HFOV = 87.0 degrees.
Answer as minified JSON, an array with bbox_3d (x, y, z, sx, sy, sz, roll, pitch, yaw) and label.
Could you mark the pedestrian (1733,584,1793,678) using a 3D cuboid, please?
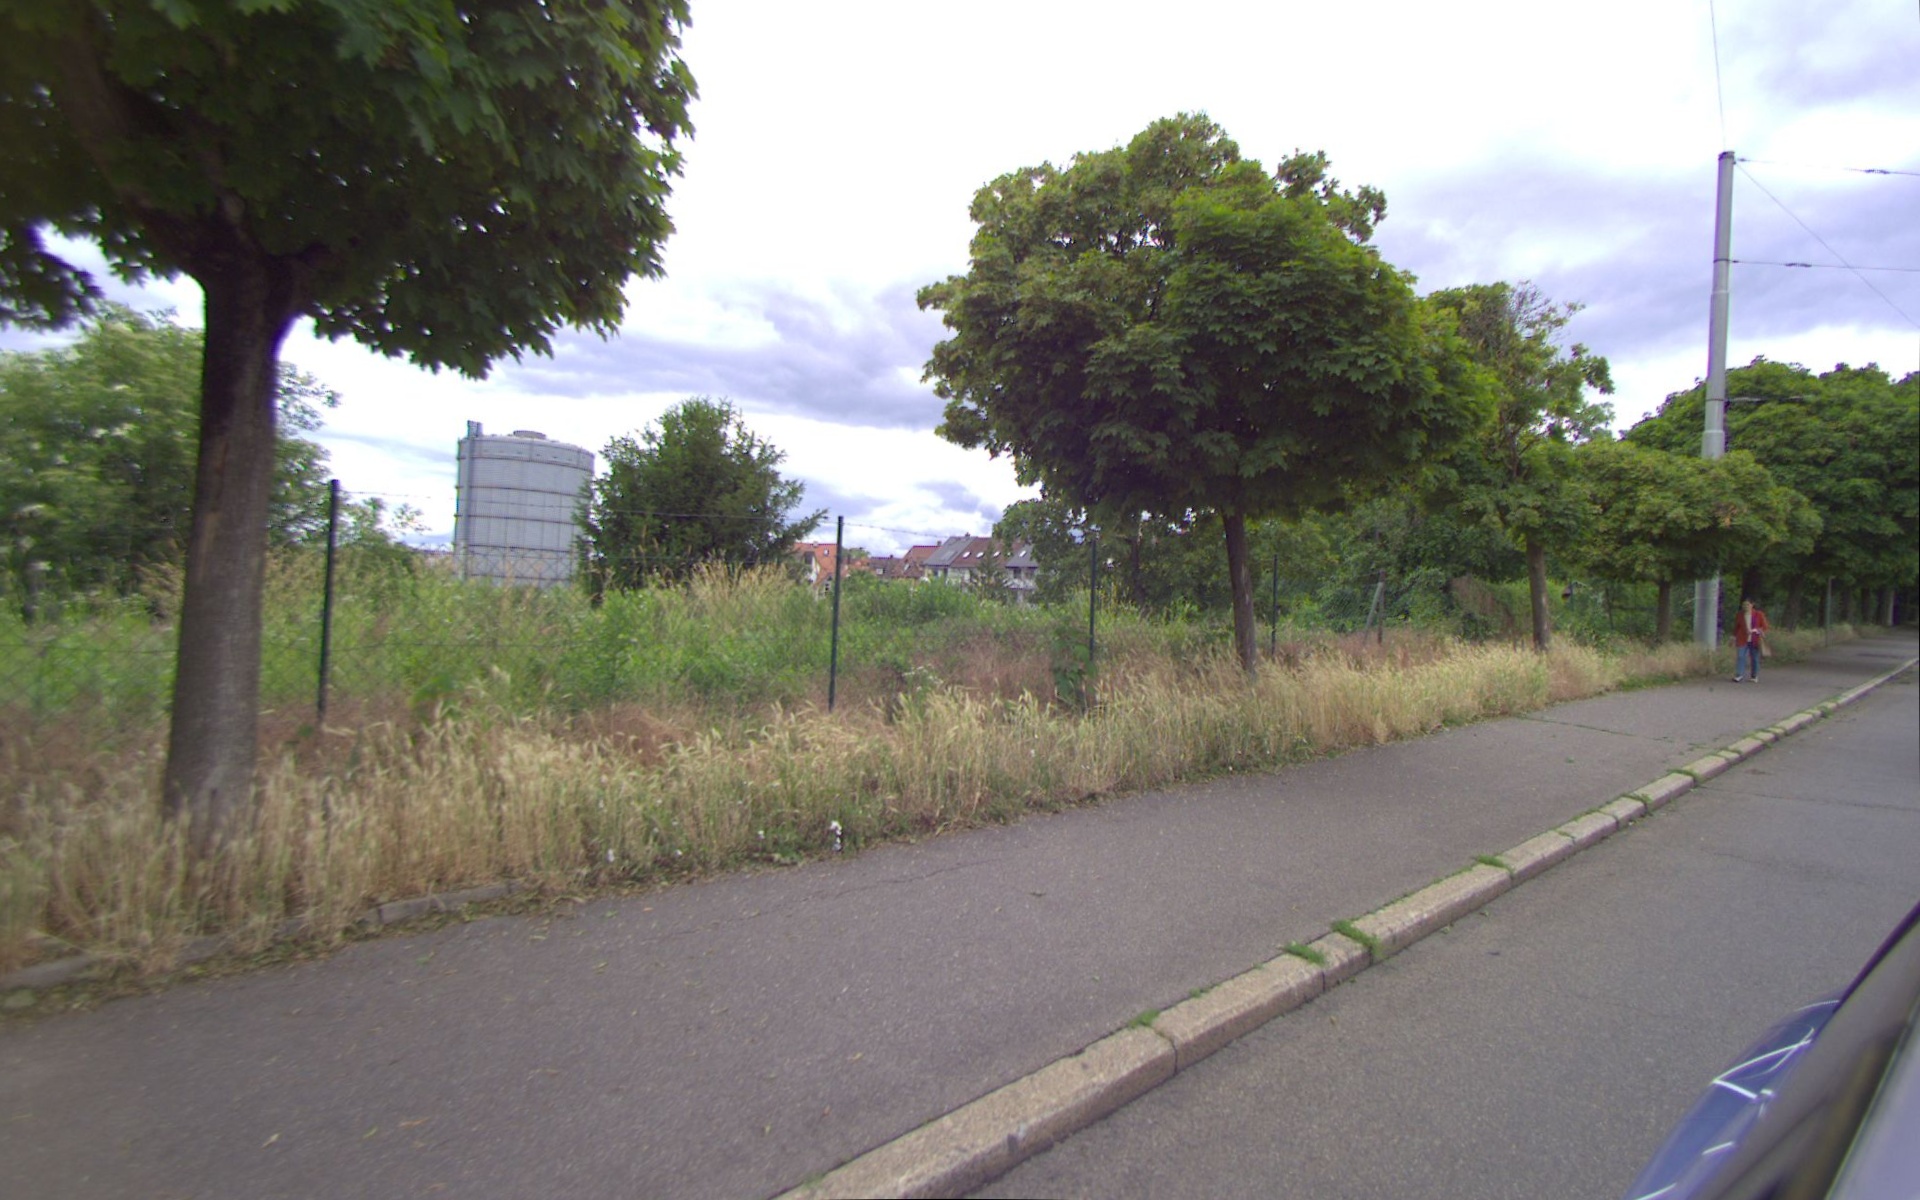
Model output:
[{"bbox_3d":[14.607,0.544,18.417,0.706,1.641,0.716,0,1,-42],"label":"pedestrian"}]
